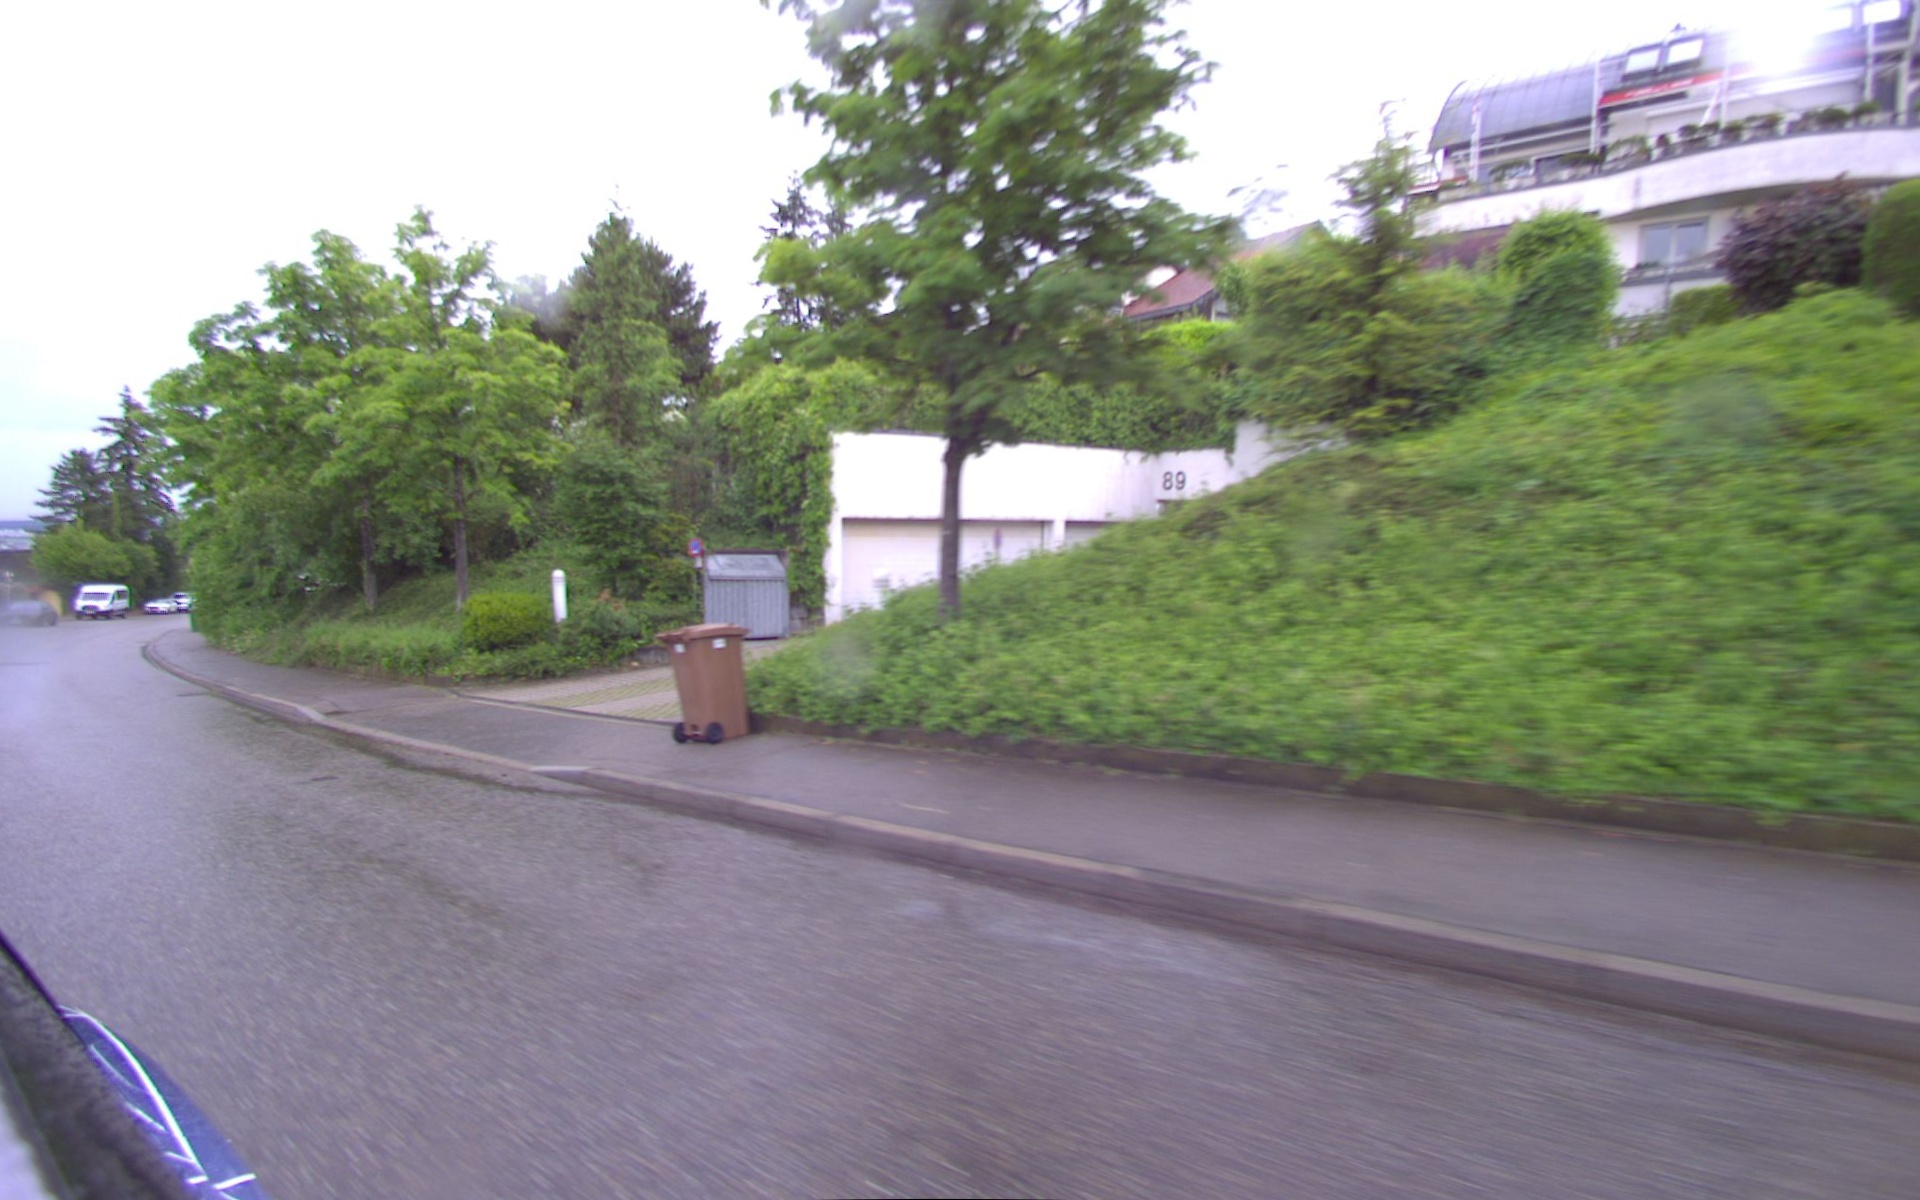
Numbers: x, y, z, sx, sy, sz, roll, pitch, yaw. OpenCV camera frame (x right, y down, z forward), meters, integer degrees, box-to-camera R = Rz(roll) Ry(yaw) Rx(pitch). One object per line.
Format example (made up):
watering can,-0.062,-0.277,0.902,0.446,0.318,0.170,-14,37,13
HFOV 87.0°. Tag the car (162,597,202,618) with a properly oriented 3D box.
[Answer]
car,-73.333,0.690,95.465,1.838,1.832,4.878,0,0,-23

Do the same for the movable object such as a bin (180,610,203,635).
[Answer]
movable object such as a bin,-33.910,0.976,44.673,0.759,1.076,0.692,0,0,-42

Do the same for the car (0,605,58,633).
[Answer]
car,-54.260,1.089,58.890,1.832,1.538,5.078,1,-1,-33

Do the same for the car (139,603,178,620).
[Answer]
car,-70.859,0.988,89.525,1.724,1.434,4.013,0,0,-24

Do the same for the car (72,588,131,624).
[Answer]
car,-63.841,0.396,75.363,2.043,2.569,6.201,0,0,-28

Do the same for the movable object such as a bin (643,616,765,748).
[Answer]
movable object such as a bin,-2.355,0.742,9.287,0.686,1.098,0.803,-5,-1,-44
